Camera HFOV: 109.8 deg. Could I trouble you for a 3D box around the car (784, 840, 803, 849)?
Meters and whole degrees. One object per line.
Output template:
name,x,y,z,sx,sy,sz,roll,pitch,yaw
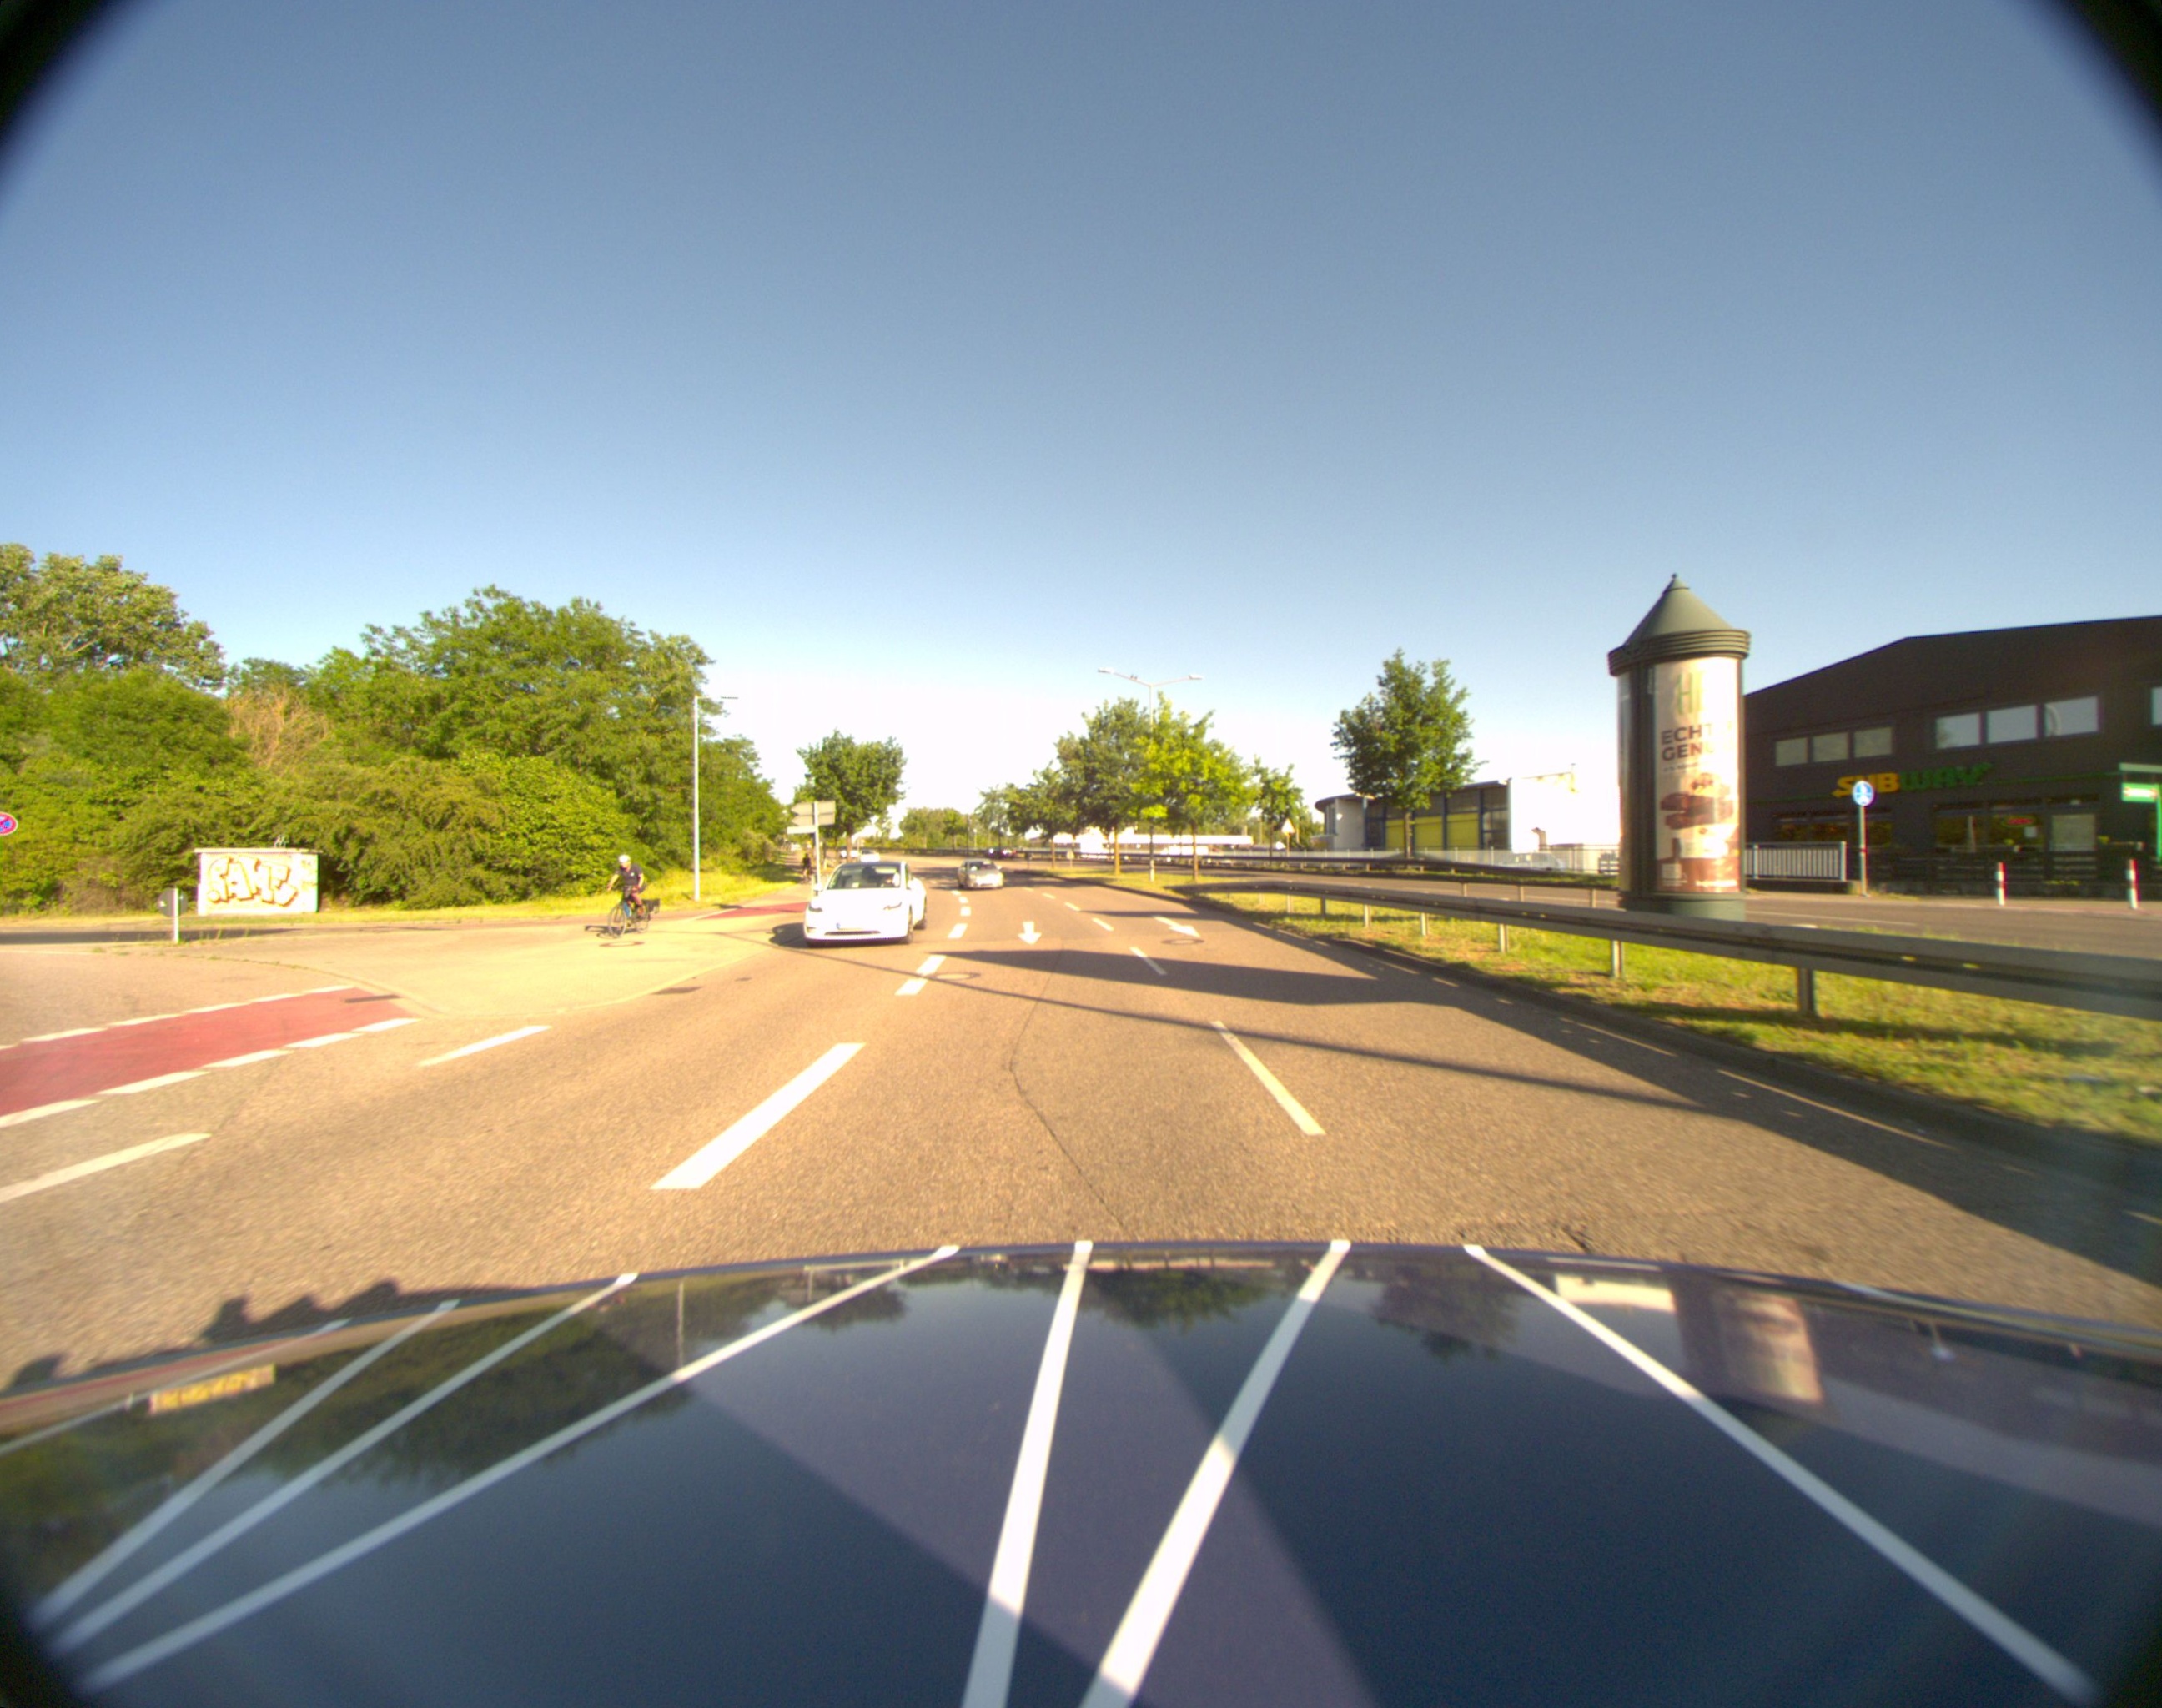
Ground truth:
car,-51.315,-1.663,135.430,1.771,1.481,4.264,-3,3,-41

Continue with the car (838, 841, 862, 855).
car,-28.342,-0.750,93.121,2.003,1.707,4.261,-1,1,-29

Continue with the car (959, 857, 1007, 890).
car,-4.828,0.907,37.128,1.685,1.433,3.853,-3,1,-16

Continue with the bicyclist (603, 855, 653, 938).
bicyclist,-10.018,0.913,16.833,0.677,1.766,0.947,1,1,-13

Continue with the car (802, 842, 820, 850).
car,-49.728,-1.433,140.126,1.738,1.378,4.483,-3,2,-38

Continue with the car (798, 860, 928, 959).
car,-4.354,1.002,15.867,1.920,1.631,4.406,-1,1,-7

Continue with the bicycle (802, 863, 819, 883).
bicycle,-15.192,1.064,42.604,0.704,1.068,1.917,1,1,-26

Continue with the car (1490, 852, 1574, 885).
car,23.462,0.744,39.613,3.480,1.558,1.615,-1,2,18

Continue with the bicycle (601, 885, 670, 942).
bicycle,-9.933,1.290,17.019,0.698,1.089,2.115,1,1,-13

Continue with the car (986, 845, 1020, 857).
car,-8.472,-0.330,82.550,1.808,1.303,4.603,-2,1,-32

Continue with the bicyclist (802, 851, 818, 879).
bicyclist,-15.186,0.603,42.612,0.710,1.569,1.002,1,1,-25

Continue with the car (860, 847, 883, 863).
car,-21.528,0.036,77.999,2.153,1.558,4.191,-1,1,-17
